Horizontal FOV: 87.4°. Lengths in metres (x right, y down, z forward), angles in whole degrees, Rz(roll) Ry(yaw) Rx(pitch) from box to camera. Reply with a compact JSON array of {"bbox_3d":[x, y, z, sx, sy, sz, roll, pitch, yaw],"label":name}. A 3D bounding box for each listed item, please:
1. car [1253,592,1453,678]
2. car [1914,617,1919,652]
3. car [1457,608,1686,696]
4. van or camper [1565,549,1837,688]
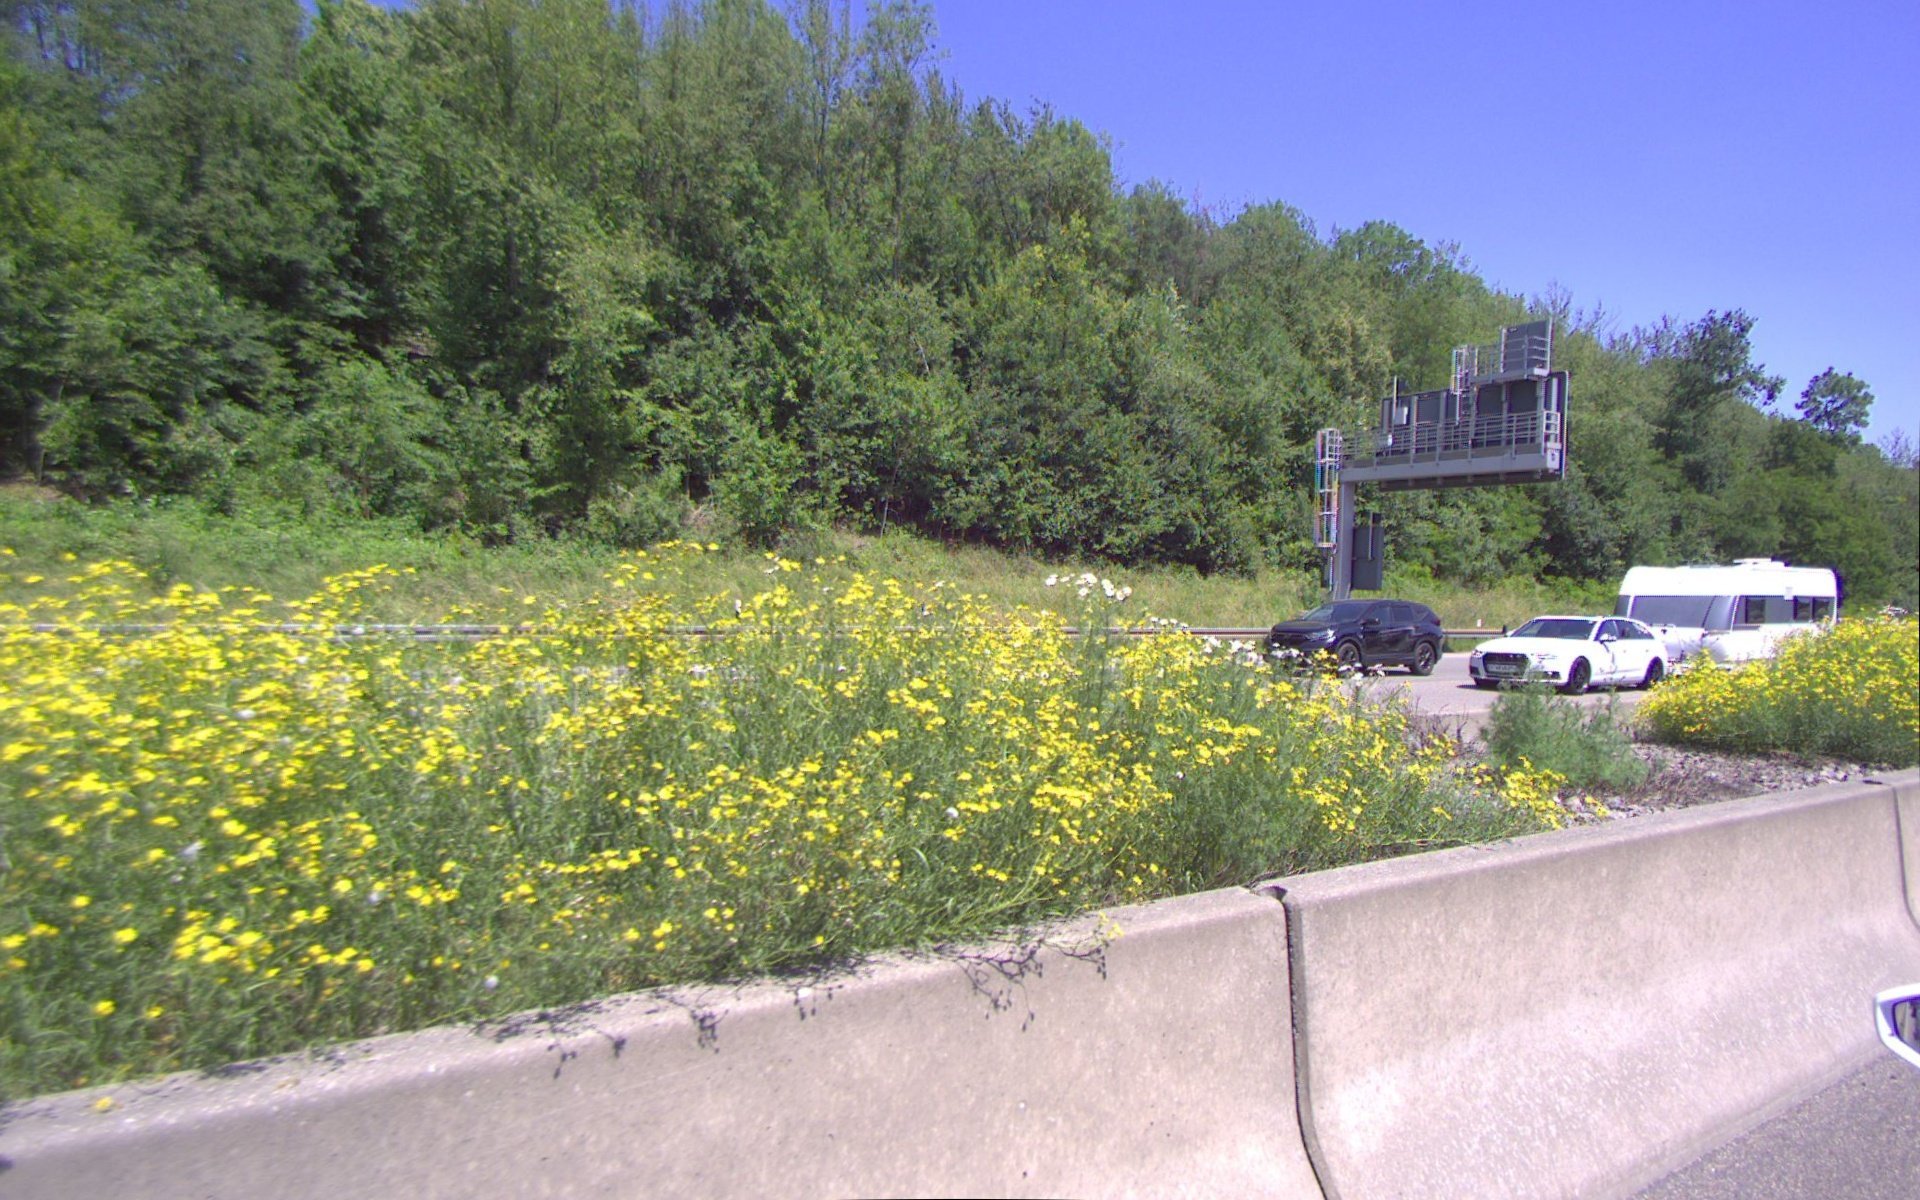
[{"bbox_3d":[8.611,0.724,21.905,4.371,1.718,1.747,1,0,-31],"label":"car"},{"bbox_3d":[46.323,1.626,46.608,3.954,1.596,1.984,1,0,-31],"label":"car"},{"bbox_3d":[11.554,0.919,18.913,4.556,1.458,1.747,1,0,-31],"label":"car"},{"bbox_3d":[16.528,0.413,22.227,7.316,2.671,2.296,1,0,-32],"label":"van or camper"}]
